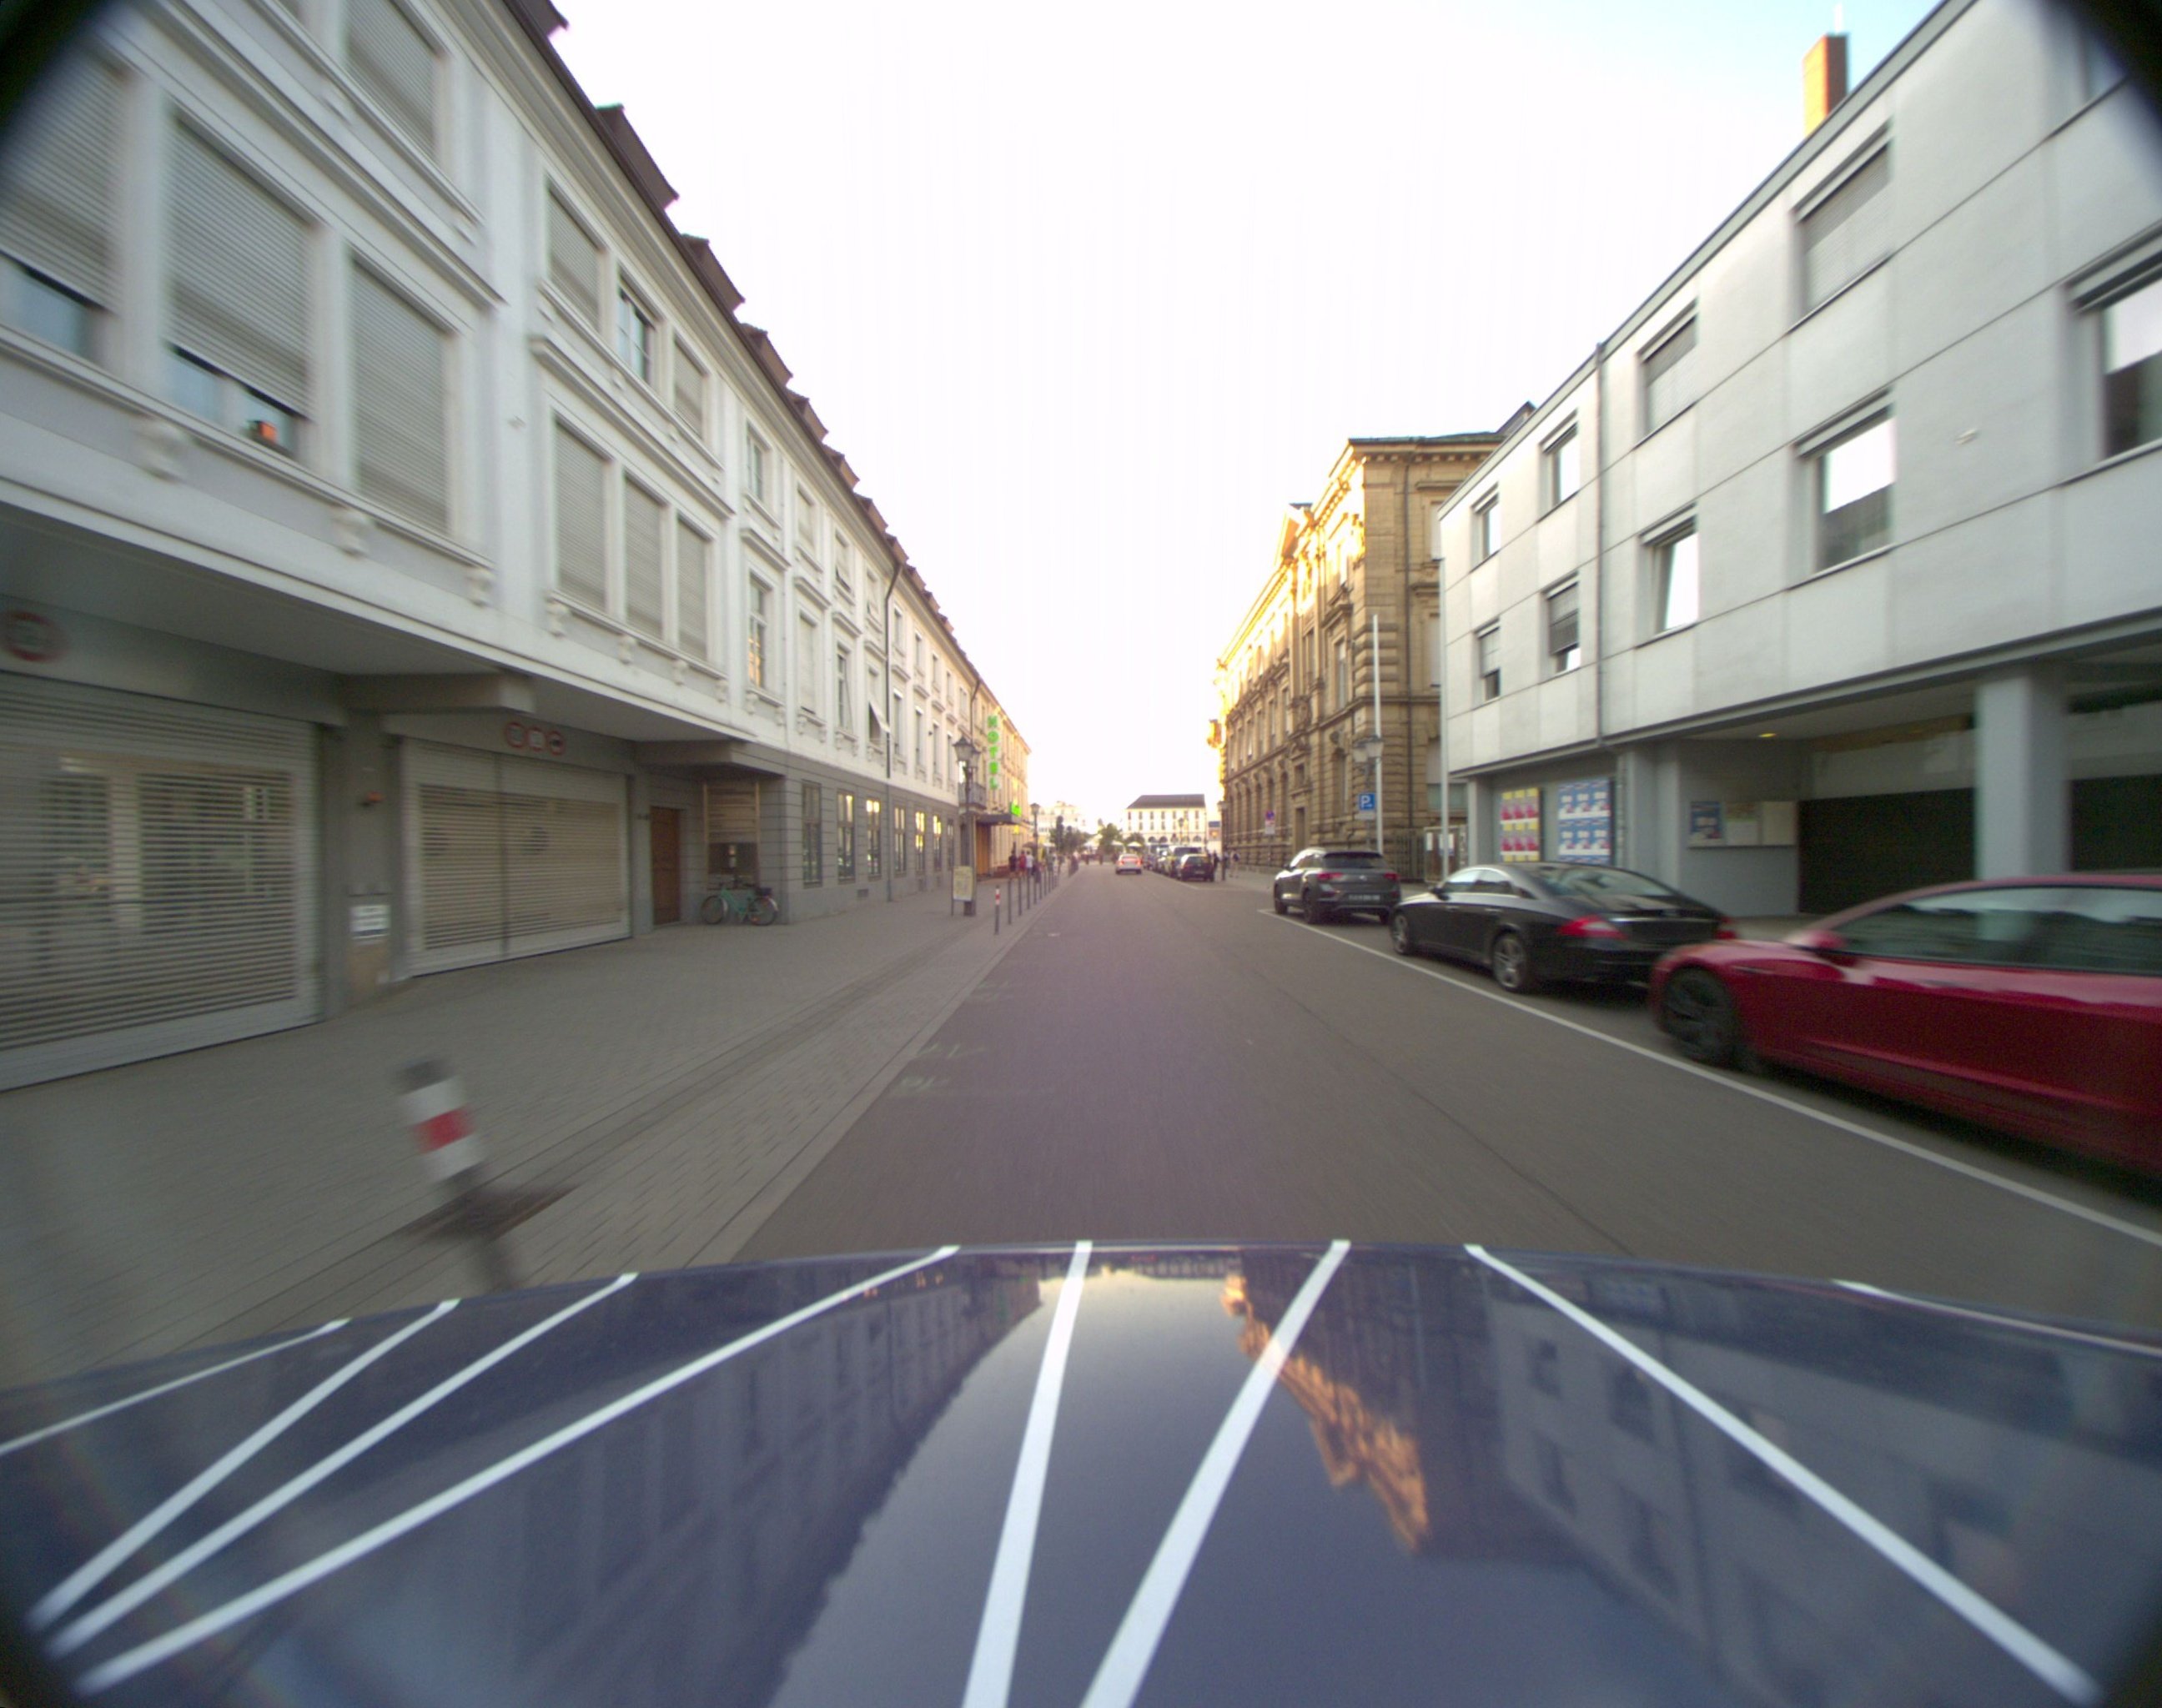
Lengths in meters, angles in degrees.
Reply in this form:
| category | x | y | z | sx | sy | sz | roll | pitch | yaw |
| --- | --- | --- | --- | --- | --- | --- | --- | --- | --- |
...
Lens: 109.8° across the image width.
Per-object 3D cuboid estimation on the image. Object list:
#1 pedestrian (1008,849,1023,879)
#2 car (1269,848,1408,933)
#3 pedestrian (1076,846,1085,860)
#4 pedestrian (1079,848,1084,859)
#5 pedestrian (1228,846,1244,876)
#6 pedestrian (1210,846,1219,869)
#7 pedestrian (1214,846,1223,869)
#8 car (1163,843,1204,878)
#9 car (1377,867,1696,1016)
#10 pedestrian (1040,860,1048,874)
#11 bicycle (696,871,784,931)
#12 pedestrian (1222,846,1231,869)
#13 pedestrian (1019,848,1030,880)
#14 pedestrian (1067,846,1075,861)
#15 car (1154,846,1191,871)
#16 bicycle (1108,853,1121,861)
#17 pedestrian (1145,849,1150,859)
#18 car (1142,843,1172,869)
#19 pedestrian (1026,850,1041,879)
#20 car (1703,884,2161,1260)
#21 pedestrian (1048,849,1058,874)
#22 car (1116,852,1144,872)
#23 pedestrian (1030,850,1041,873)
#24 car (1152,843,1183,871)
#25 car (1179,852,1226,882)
| category | x | y | z | sx | sy | sz | roll | pitch | yaw |
| --- | --- | --- | --- | --- | --- | --- | --- | --- | --- |
| pedestrian | -3.823 | 0.603 | 44.261 | 0.715 | 1.720 | 0.873 | -1 | 1 | 4 |
| car | 5.439 | 0.684 | 16.622 | 1.789 | 1.605 | 4.166 | -1 | 0 | 2 |
| pedestrian | -0.036 | -0.088 | 92.265 | 0.667 | 1.720 | 0.767 | 0 | 1 | 44 |
| pedestrian | 0.075 | -0.100 | 103.824 | 0.683 | 1.557 | 0.653 | -1 | 1 | -1 |
| pedestrian | 9.221 | 0.427 | 45.130 | 0.715 | 1.720 | 0.896 | -4 | 1 | 3 |
| pedestrian | 10.234 | 0.282 | 58.419 | 0.575 | 1.720 | 0.744 | -1 | 1 | 3 |
| pedestrian | 10.571 | 0.278 | 58.395 | 0.583 | 1.720 | 0.831 | -1 | 1 | 3 |
| car | 6.412 | 0.351 | 47.899 | 1.998 | 2.066 | 4.989 | -1 | 1 | 1 |
| car | 5.421 | 0.929 | 9.768 | 1.789 | 1.400 | 4.088 | -1 | 0 | 2 |
| pedestrian | -2.547 | 0.891 | 52.051 | 0.461 | 0.974 | 0.558 | -1 | 1 | 3 |
| bicycle | -7.332 | 1.002 | 16.380 | 1.661 | 1.245 | 0.439 | -1 | 1 | -1 |
| pedestrian | 11.236 | 0.285 | 58.689 | 0.608 | 1.720 | 0.703 | -1 | 1 | 3 |
| pedestrian | -3.246 | 0.578 | 43.608 | 0.622 | 1.779 | 0.913 | -1 | 1 | -4 |
| pedestrian | -1.153 | -0.071 | 92.129 | 0.607 | 1.720 | 0.719 | 0 | 1 | 44 |
| car | 6.467 | 0.280 | 54.127 | 1.998 | 1.742 | 4.989 | -1 | 1 | 0 |
| bicycle | 4.781 | 0.428 | 109.259 | 1.683 | 1.115 | 0.846 | -1 | 1 | 36 |
| pedestrian | 11.375 | -0.073 | 130.145 | 0.856 | 1.720 | 0.881 | -1 | 1 | 5 |
| car | 6.629 | 0.123 | 66.674 | 1.999 | 2.158 | 5.206 | -1 | 0 | -1 |
| pedestrian | -2.792 | 0.614 | 44.670 | 0.749 | 1.720 | 0.881 | -1 | 1 | 5 |
| car | 5.295 | 0.937 | 3.400 | 1.789 | 1.400 | 4.088 | -1 | 0 | 2 |
| pedestrian | -1.914 | 0.534 | 52.672 | 0.608 | 1.720 | 0.558 | -1 | 1 | 3 |
| car | 3.481 | 0.553 | 54.959 | 1.789 | 1.400 | 4.088 | -1 | 0 | 0 |
| pedestrian | -3.131 | 0.497 | 52.243 | 0.631 | 1.591 | 0.615 | -1 | 1 | 3 |
| car | 6.761 | 0.167 | 59.719 | 1.998 | 2.075 | 5.207 | -1 | 1 | 2 |
| car | 6.526 | 0.683 | 41.266 | 1.998 | 1.486 | 4.164 | -1 | 1 | 2 |
